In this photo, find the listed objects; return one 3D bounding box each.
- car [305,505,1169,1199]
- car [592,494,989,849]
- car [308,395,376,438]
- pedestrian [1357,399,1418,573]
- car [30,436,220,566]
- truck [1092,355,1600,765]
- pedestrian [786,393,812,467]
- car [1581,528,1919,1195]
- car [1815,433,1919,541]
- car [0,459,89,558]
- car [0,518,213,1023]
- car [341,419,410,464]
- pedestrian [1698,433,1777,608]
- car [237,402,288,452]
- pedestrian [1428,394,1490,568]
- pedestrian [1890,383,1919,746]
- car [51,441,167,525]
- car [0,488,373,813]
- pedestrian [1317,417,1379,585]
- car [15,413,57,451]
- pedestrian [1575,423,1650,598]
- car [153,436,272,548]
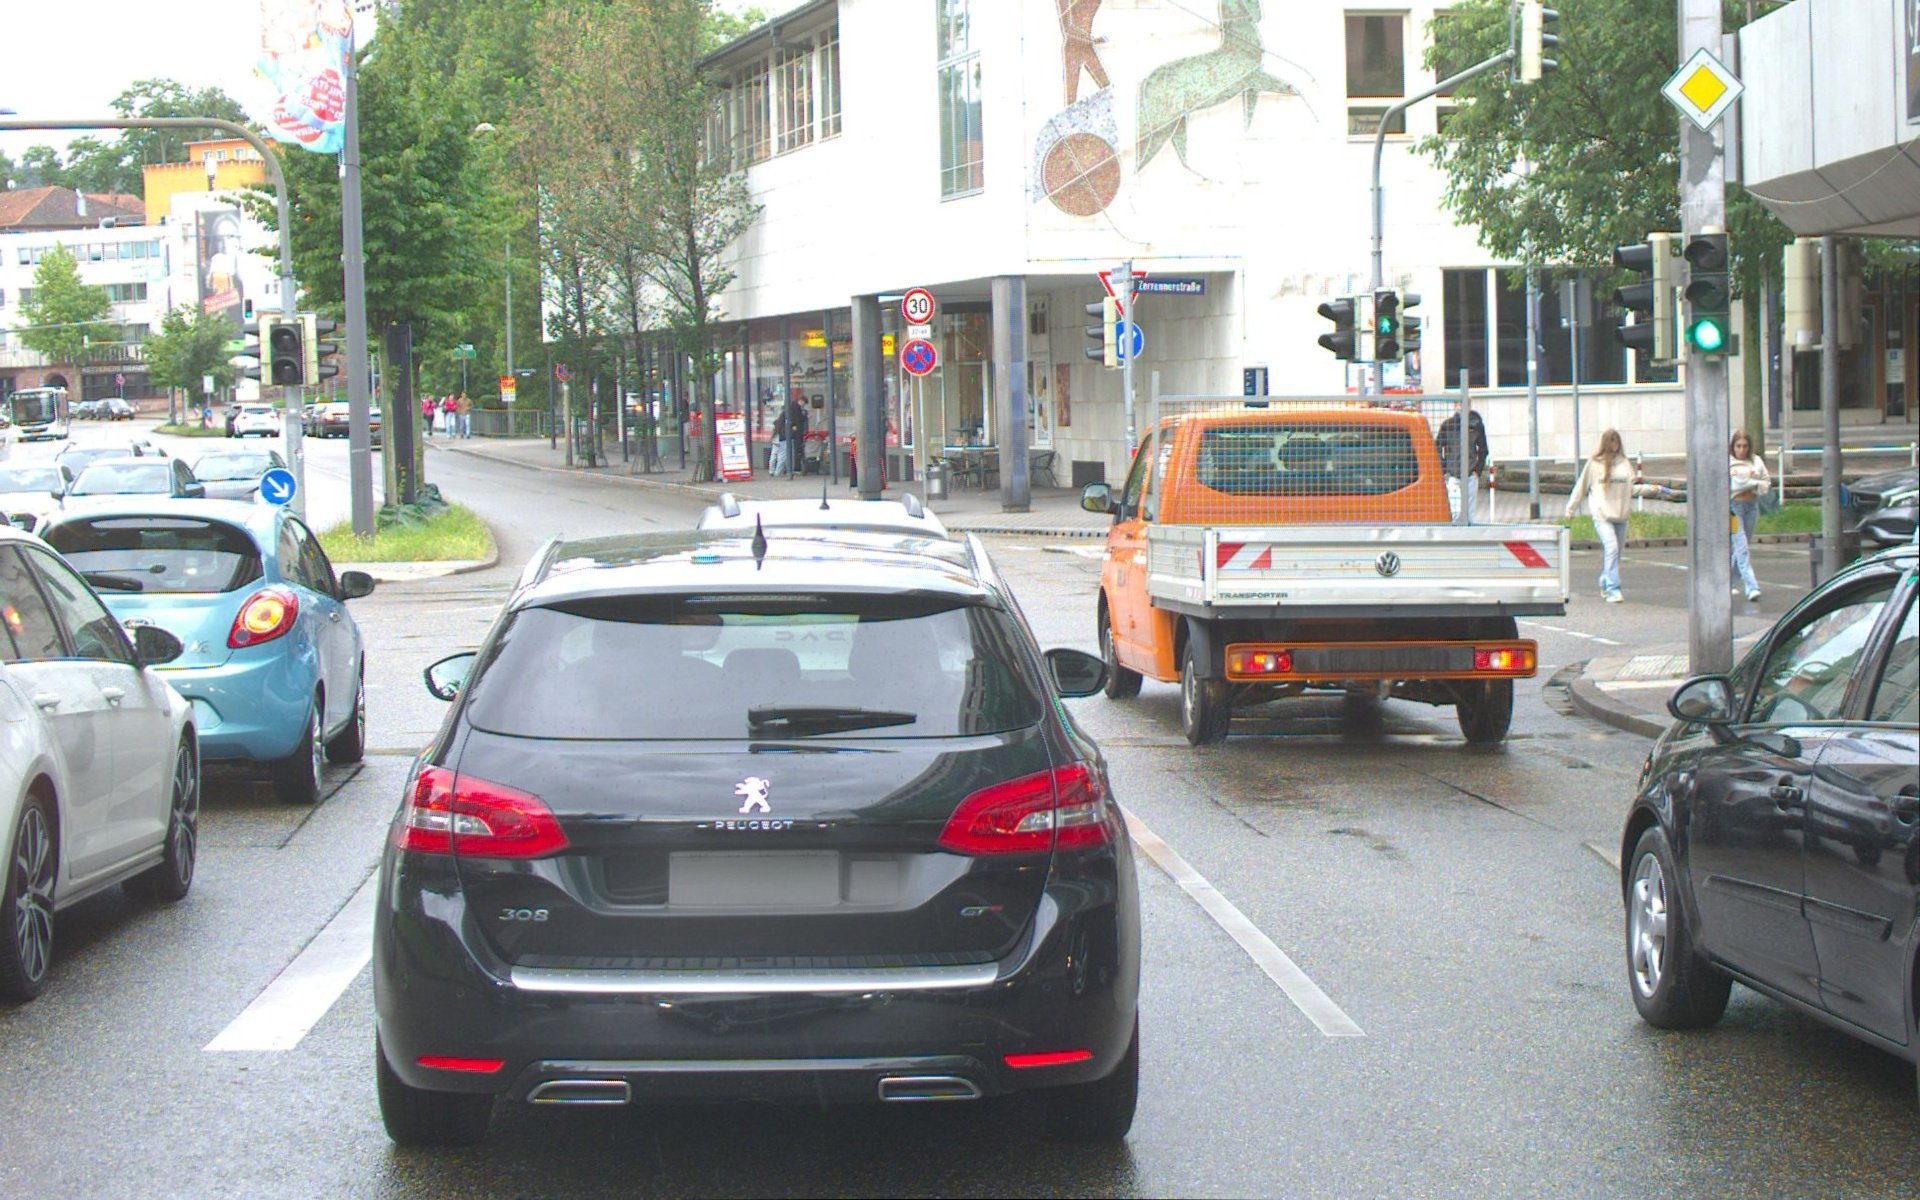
[{"bbox_3d":[-0.460,0.477,9.032,1.777,1.424,3.842,1,2,0],"label":"car"},{"bbox_3d":[-0.757,0.250,16.708,1.696,1.481,3.794,1,2,-1],"label":"car"},{"bbox_3d":[-25.495,-7.553,141.807,1.724,1.485,4.734,1,0,-23],"label":"car"},{"bbox_3d":[4.717,-1.249,37.997,0.637,1.891,0.733,0,0,6],"label":"pedestrian"},{"bbox_3d":[-10.888,-1.253,45.060,1.744,1.574,4.000,1,0,-4],"label":"car"},{"bbox_3d":[2.153,-0.311,20.805,2.177,2.165,5.021,0,2,-4],"label":"truck"},{"bbox_3d":[-3.866,-4.088,82.615,0.468,1.742,0.541,1,0,-21],"label":"pedestrian"},{"bbox_3d":[2.841,0.559,8.692,1.616,1.424,3.843,0,2,-3],"label":"car"},{"bbox_3d":[12.047,-1.300,40.232,3.688,1.208,1.835,1,0,4],"label":"car"},{"bbox_3d":[-14.711,-1.455,53.793,1.632,1.481,3.611,0,2,-7],"label":"car"},{"bbox_3d":[-3.724,0.454,11.470,1.777,1.424,3.843,0,2,-2],"label":"car"},{"bbox_3d":[-20.826,-5.658,122.356,1.787,1.449,4.508,-4,4,-17],"label":"car"},{"bbox_3d":[7.433,-0.751,32.889,0.637,1.653,0.733,0,0,6],"label":"pedestrian"},{"bbox_3d":[-29.659,-7.338,146.145,1.705,1.875,4.001,1,0,-18],"label":"car"},{"bbox_3d":[5.487,-1.302,37.834,0.637,1.891,0.733,0,0,6],"label":"pedestrian"},{"bbox_3d":[5.459,-0.185,18.460,0.736,1.928,0.640,1,0,-1],"label":"pedestrian"},{"bbox_3d":[-15.612,-2.162,63.186,1.632,1.481,3.611,0,2,-7],"label":"car"},{"bbox_3d":[-4.019,0.184,17.858,1.632,1.481,3.610,0,2,-5],"label":"car"},{"bbox_3d":[4.121,-1.045,36.523,0.637,1.752,0.733,0,0,6],"label":"pedestrian"},{"bbox_3d":[-53.982,-9.791,200.752,1.993,2.007,4.001,1,0,-20],"label":"car"},{"bbox_3d":[6.263,-0.853,33.019,0.637,1.653,0.733,0,0,6],"label":"pedestrian"},{"bbox_3d":[-11.859,-1.682,54.731,1.744,1.634,4.001,1,0,-11],"label":"car"}]
